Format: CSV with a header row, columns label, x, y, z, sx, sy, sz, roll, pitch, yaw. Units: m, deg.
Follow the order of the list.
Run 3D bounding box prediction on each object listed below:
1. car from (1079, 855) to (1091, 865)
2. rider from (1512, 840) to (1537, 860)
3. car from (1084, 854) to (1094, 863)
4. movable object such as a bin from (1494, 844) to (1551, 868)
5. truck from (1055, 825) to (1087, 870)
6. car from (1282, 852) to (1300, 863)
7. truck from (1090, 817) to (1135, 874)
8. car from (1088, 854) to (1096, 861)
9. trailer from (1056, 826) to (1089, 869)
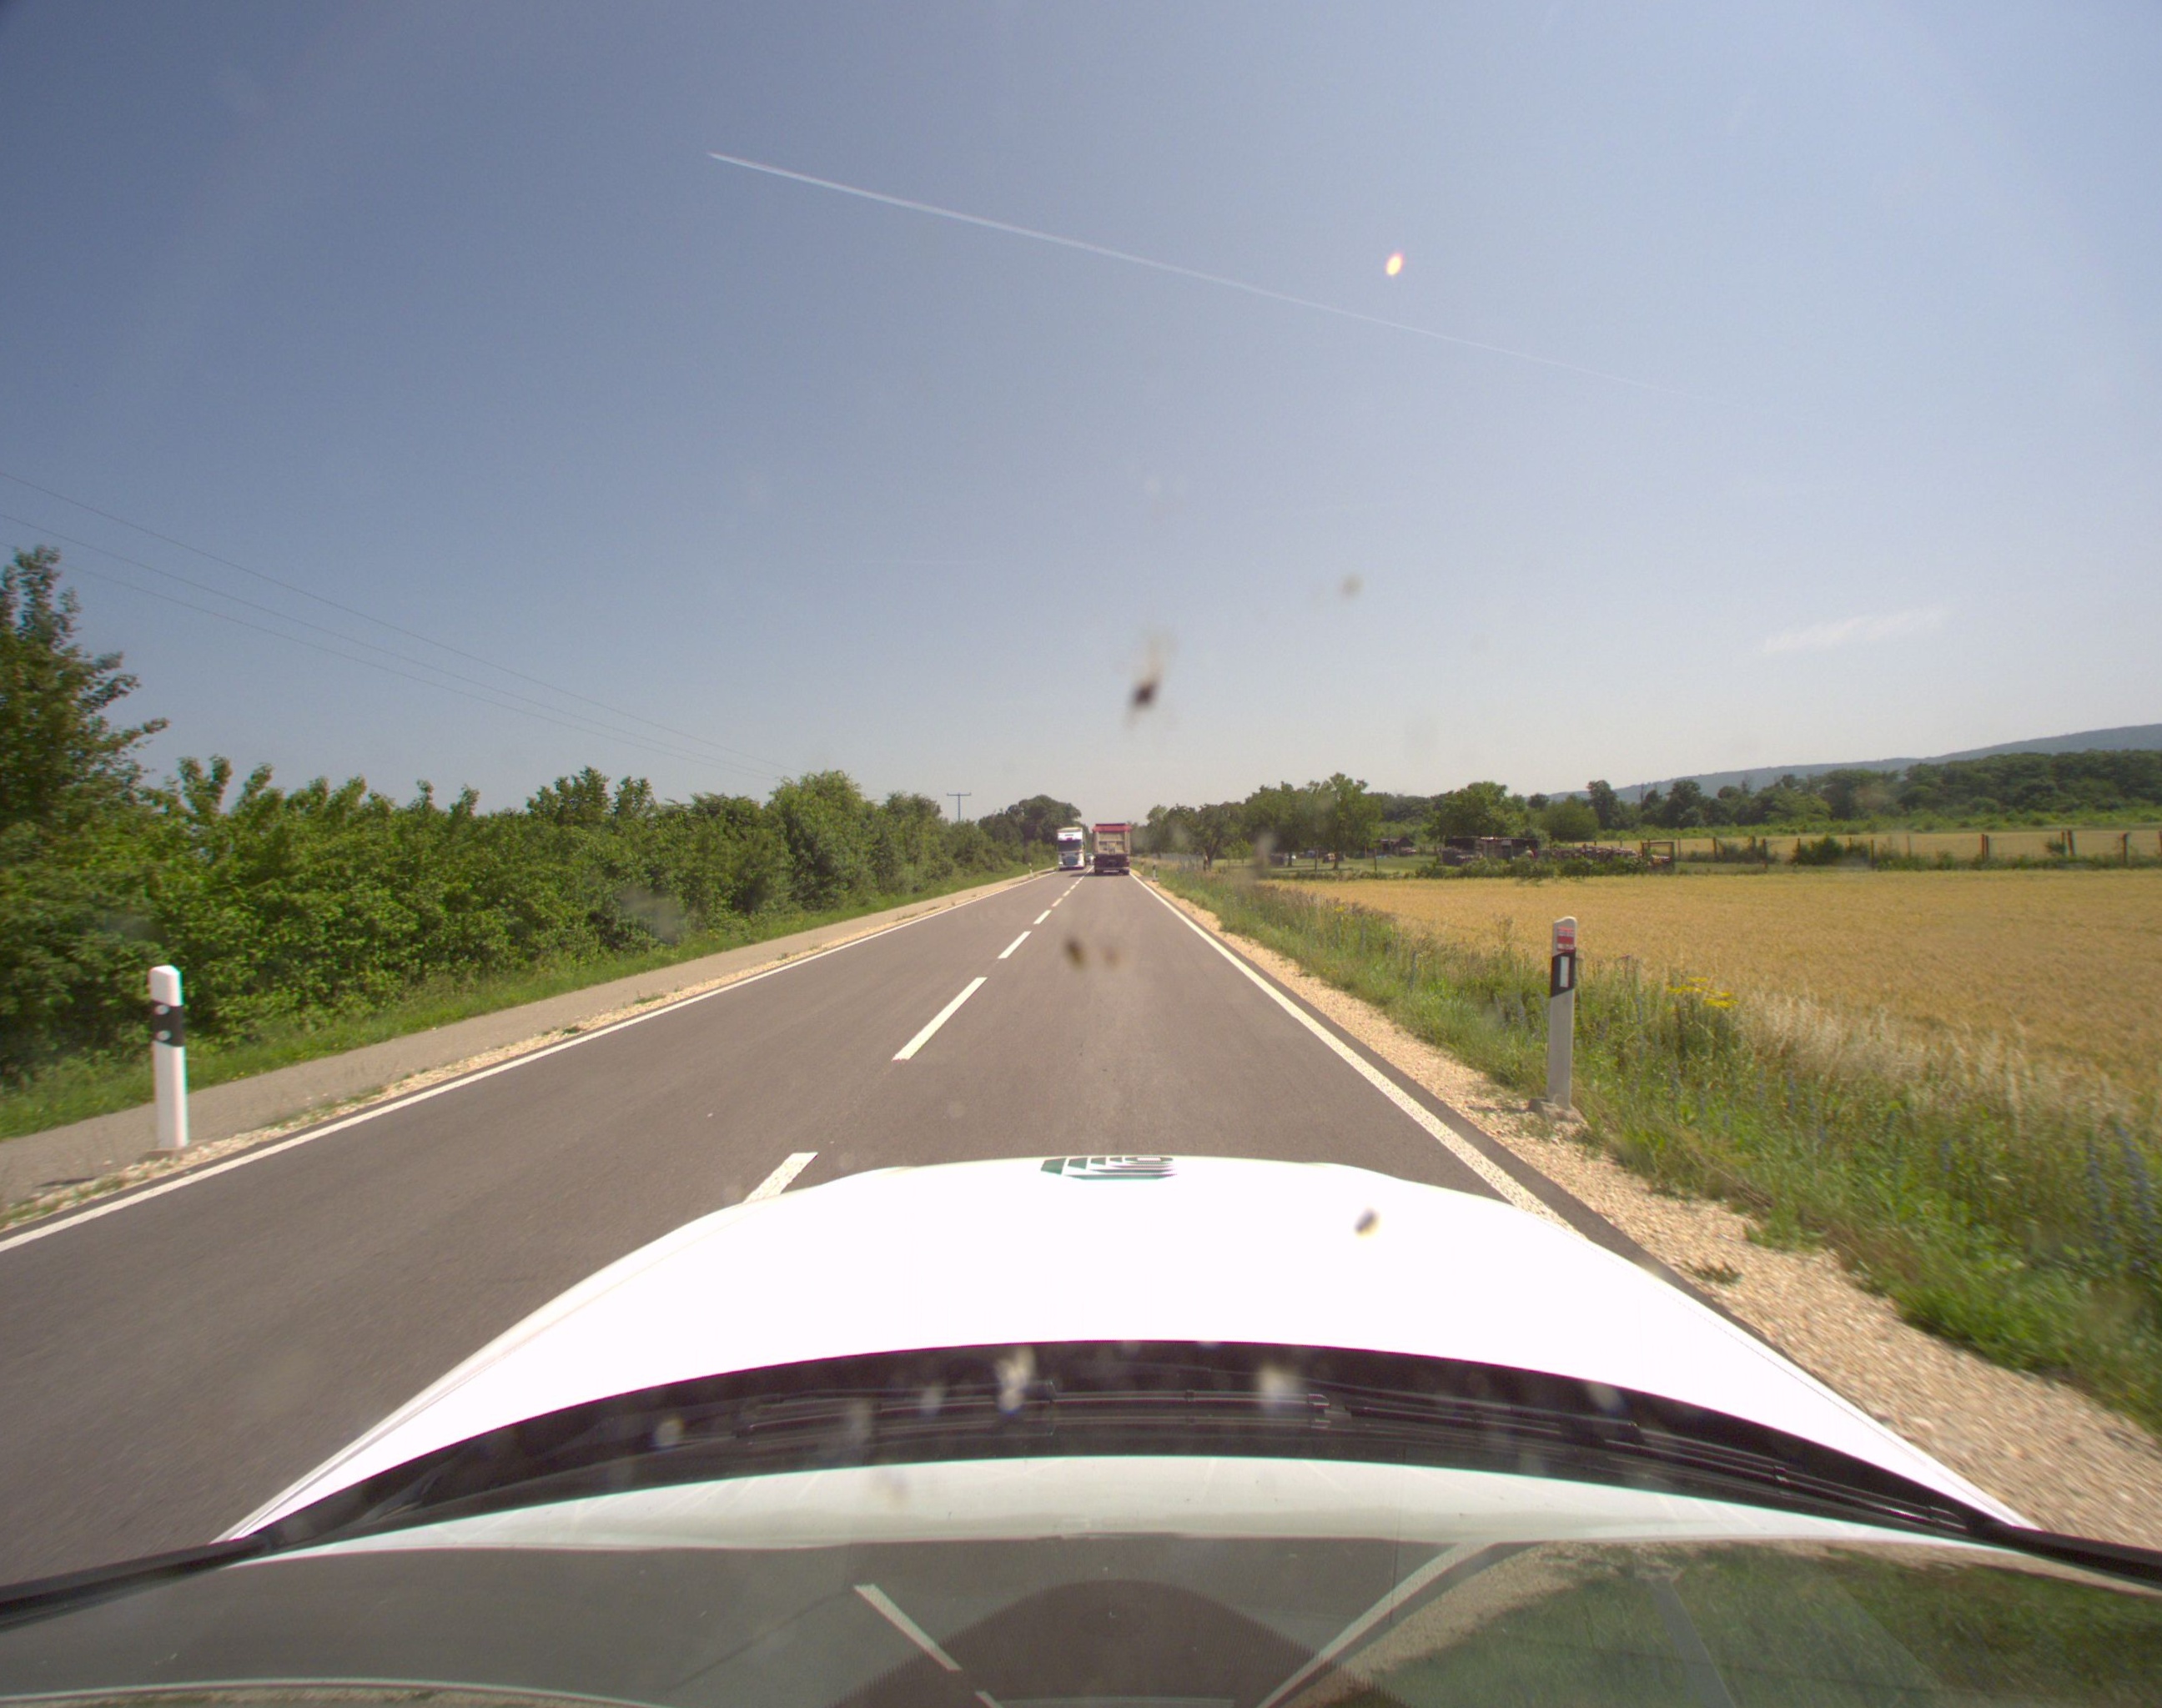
label,x,y,z,sx,sy,sz,roll,pitch,yaw
car,0.673,0.877,127.143,1.689,1.406,4.046,-4,0,0
rider,28.482,-0.245,52.311,1.022,1.217,0.984,-1,0,-5
car,1.470,0.823,147.197,1.752,1.606,4.483,-4,0,1
movable object such as a bin,28.571,0.143,52.797,1.567,1.496,3.655,-1,0,-3
truck,-0.995,-0.668,83.478,2.707,4.265,7.393,-3,0,2
car,31.563,0.513,122.527,1.591,1.486,3.420,-2,1,-6
truck,2.317,-0.557,61.343,2.998,3.874,12.213,0,0,2
car,2.594,0.849,187.450,1.752,1.540,4.047,-4,0,1
trailer,-0.802,-0.682,89.458,2.706,4.265,13.816,-3,0,2
